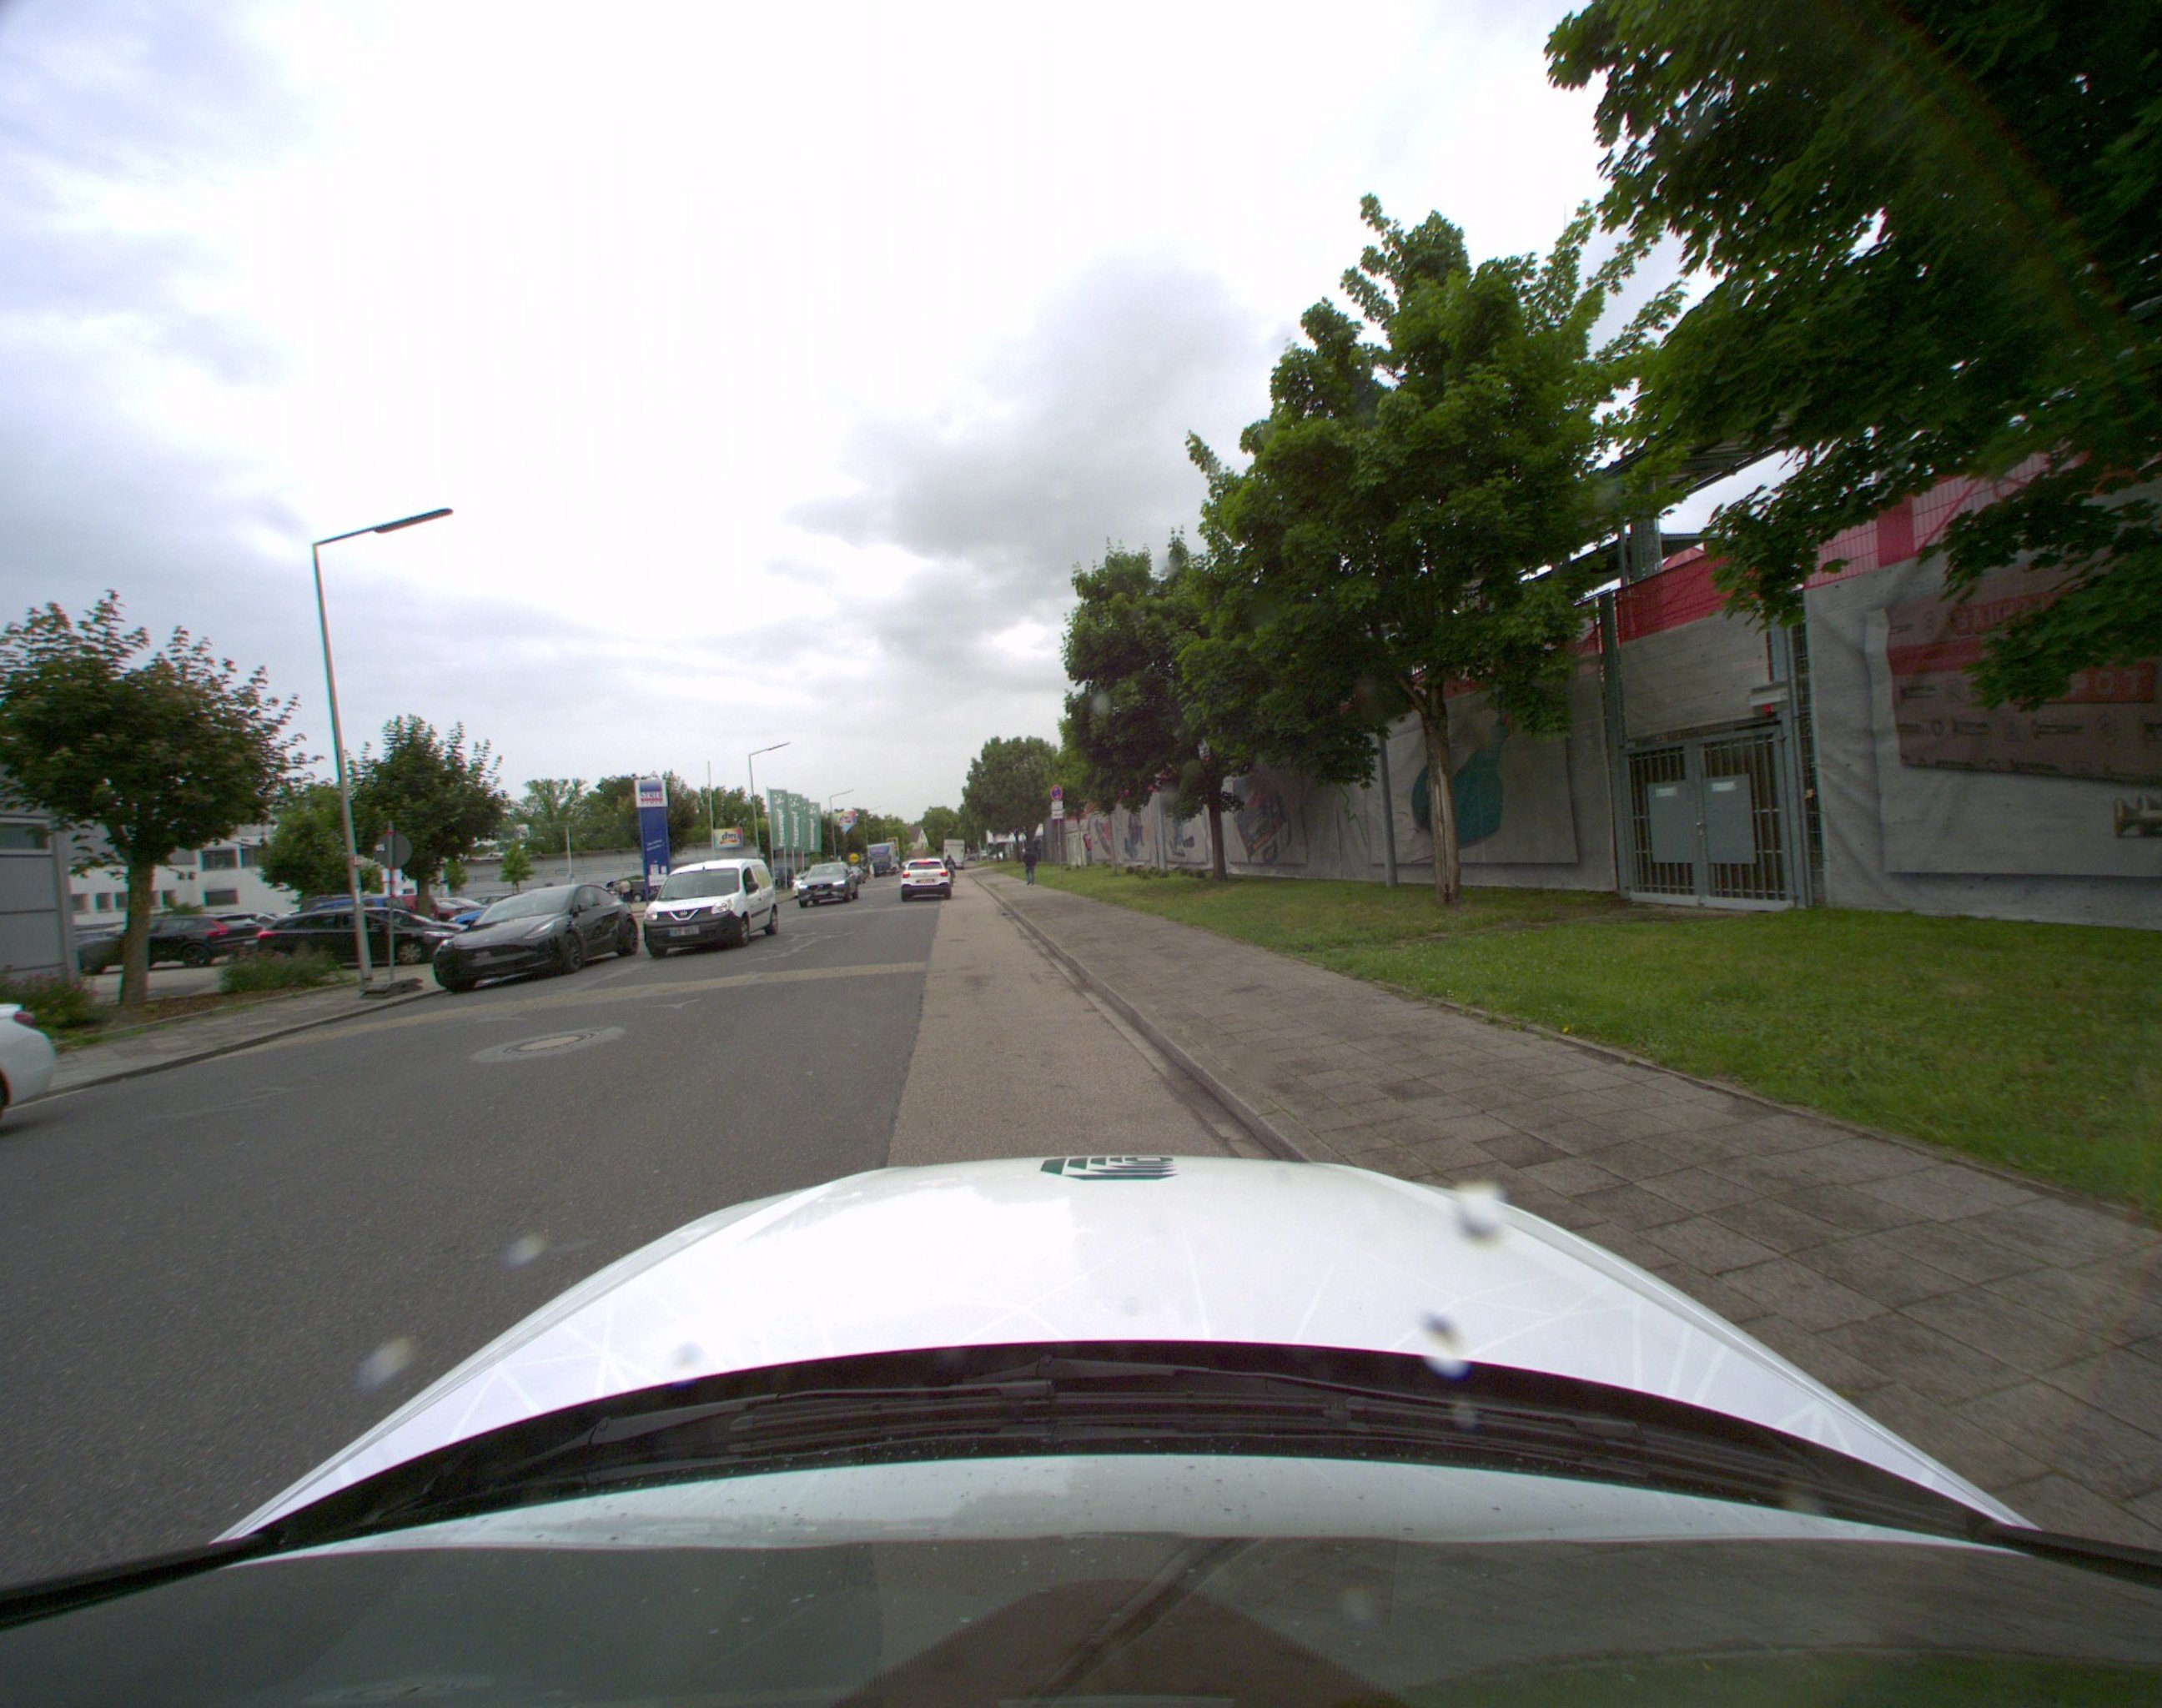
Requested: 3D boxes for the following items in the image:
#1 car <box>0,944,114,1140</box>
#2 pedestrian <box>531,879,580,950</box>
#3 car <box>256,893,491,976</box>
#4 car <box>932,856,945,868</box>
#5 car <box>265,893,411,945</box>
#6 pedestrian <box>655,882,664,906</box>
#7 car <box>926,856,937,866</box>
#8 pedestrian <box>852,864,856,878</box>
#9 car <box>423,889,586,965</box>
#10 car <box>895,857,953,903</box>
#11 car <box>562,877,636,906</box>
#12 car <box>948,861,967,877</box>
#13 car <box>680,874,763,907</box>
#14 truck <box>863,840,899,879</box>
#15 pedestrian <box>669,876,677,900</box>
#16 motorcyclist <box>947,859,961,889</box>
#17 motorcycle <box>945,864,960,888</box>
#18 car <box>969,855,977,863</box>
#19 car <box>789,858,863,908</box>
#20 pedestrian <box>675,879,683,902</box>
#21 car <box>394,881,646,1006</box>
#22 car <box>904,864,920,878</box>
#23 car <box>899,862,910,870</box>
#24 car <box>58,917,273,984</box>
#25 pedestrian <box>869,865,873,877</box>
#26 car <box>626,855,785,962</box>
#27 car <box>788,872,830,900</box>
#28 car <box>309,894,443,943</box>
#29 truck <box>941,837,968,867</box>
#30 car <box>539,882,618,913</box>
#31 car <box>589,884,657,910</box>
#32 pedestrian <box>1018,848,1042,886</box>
[{"bbox_3d":[-8.595,1.547,4.376,1.699,1.367,4.503,-9,1,-9],"label":"car"},{"bbox_3d":[-13.581,1.549,21.055,0.776,1.715,0.693,-4,0,-14],"label":"pedestrian"},{"bbox_3d":[-17.397,1.932,20.233,3.873,1.620,1.922,-3,0,-9],"label":"car"},{"bbox_3d":[-21.737,1.227,124.278,1.871,1.661,3.985,-5,1,-11],"label":"car"},{"bbox_3d":[-30.812,2.662,33.911,3.987,1.669,1.870,-5,0,-10],"label":"car"},{"bbox_3d":[-28.722,2.730,55.487,0.457,1.642,0.371,-5,0,-27],"label":"pedestrian"},{"bbox_3d":[-29.709,1.414,161.616,1.994,1.684,3.985,-3,0,-10],"label":"car"},{"bbox_3d":[-25.653,1.922,92.064,0.402,1.531,0.483,-5,0,-15],"label":"pedestrian"},{"bbox_3d":[-19.198,2.390,27.316,3.939,2.013,1.751,-5,0,-16],"label":"car"},{"bbox_3d":[-5.901,0.915,30.984,1.886,1.531,4.241,-2,0,-8],"label":"car"},{"bbox_3d":[-33.880,2.622,57.352,3.987,1.669,1.870,-5,0,-10],"label":"car"},{"bbox_3d":[-14.988,1.760,98.730,1.994,1.806,3.985,-3,0,-10],"label":"car"},{"bbox_3d":[-21.294,2.138,48.420,4.214,1.463,1.941,-5,0,-17],"label":"car"},{"bbox_3d":[-22.557,0.628,91.965,2.973,3.955,6.385,-6,1,-9],"label":"truck"},{"bbox_3d":[-27.599,2.318,55.132,0.360,1.570,0.500,-5,0,-23],"label":"pedestrian"},{"bbox_3d":[-6.782,1.052,43.434,0.624,1.554,0.602,-5,0,-7],"label":"motorcyclist"},{"bbox_3d":[-6.863,1.177,43.529,0.640,1.178,2.108,-5,0,-7],"label":"motorcycle"},{"bbox_3d":[-26.829,1.239,201.721,1.886,1.683,4.241,-2,0,-8],"label":"car"},{"bbox_3d":[-10.343,1.124,33.343,1.932,1.683,4.484,-6,1,-7],"label":"car"},{"bbox_3d":[-27.756,2.532,56.175,0.331,1.570,0.500,-5,0,-23],"label":"pedestrian"},{"bbox_3d":[-9.937,1.467,14.960,1.947,1.526,4.388,-9,1,-10],"label":"car"},{"bbox_3d":[-21.127,2.135,101.911,1.598,1.528,3.517,-6,0,-9],"label":"car"},{"bbox_3d":[-30.450,2.085,140.411,1.623,1.375,3.440,-3,0,-10],"label":"car"},{"bbox_3d":[-28.810,2.989,25.813,4.002,1.485,1.863,-5,0,-21],"label":"car"},{"bbox_3d":[-27.675,2.190,107.107,0.402,1.531,0.483,-5,0,-15],"label":"pedestrian"},{"bbox_3d":[-7.596,0.987,16.948,1.689,1.760,4.123,-6,1,-8],"label":"car"},{"bbox_3d":[-15.701,1.812,47.185,1.901,1.367,3.980,-5,0,-14],"label":"car"},{"bbox_3d":[-31.281,2.843,36.271,3.987,1.669,1.870,-5,0,-10],"label":"car"},{"bbox_3d":[-16.811,-0.146,107.592,3.136,3.584,10.014,-3,0,-10],"label":"truck"},{"bbox_3d":[-33.847,2.921,54.962,3.987,1.669,1.870,-5,0,-10],"label":"car"},{"bbox_3d":[-34.520,3.237,61.423,3.986,1.492,1.781,-5,0,-9],"label":"car"},{"bbox_3d":[-2.297,0.598,36.501,0.918,1.635,0.850,-3,-1,-7],"label":"pedestrian"}]
